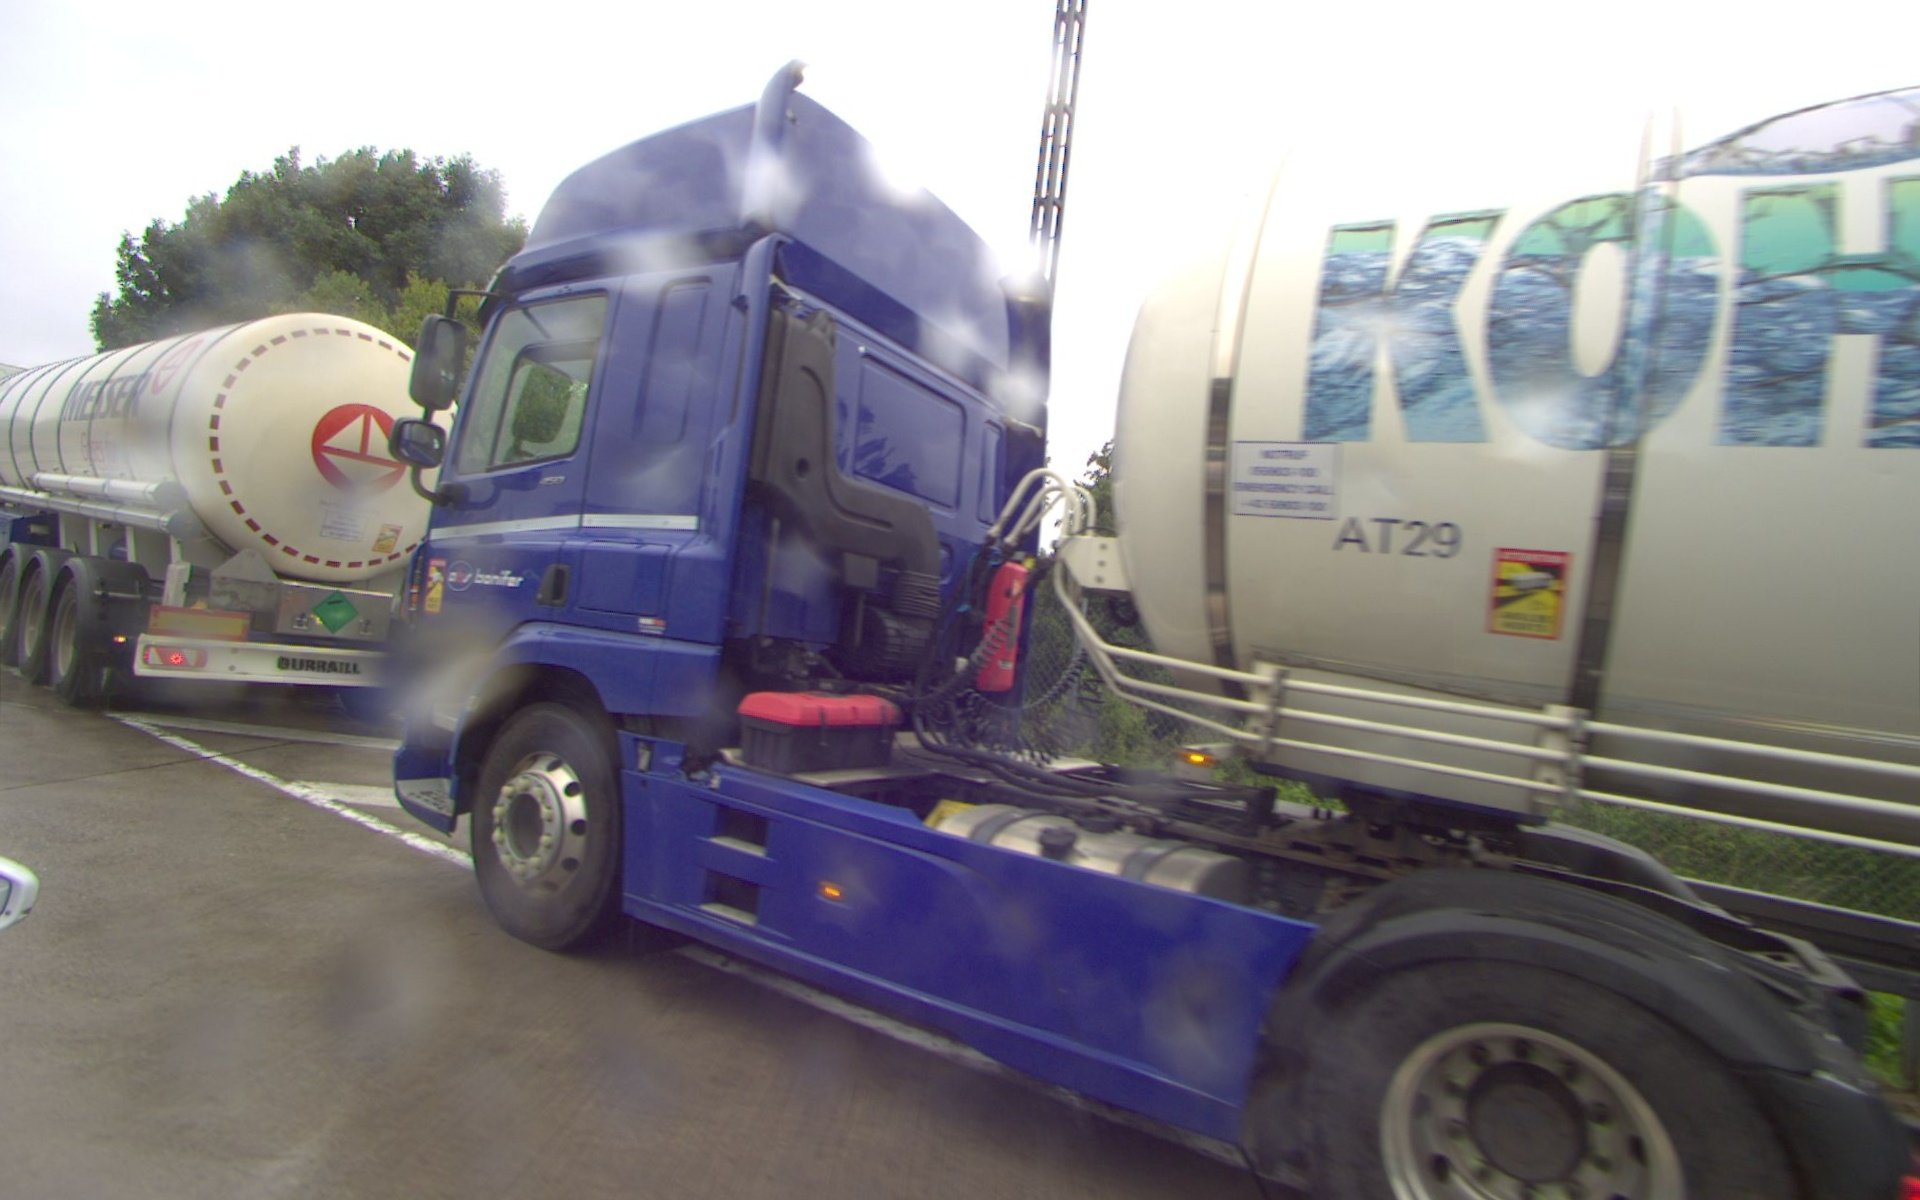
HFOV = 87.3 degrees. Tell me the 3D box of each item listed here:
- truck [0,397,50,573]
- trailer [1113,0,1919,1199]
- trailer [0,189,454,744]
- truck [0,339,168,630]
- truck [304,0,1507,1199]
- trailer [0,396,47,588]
[{"bbox_3d":[-23.422,-2.815,23.993,2.174,3.873,4.092,8,-1,-42],"label":"truck"},{"bbox_3d":[5.423,0.527,0.921,10.148,3.261,1.985,6,-2,31],"label":"trailer"},{"bbox_3d":[-8.686,-1.105,10.370,10.107,3.481,2.130,6,-2,41],"label":"trailer"},{"bbox_3d":[-13.655,-1.639,14.682,4.581,3.554,2.145,6,-2,41],"label":"truck"},{"bbox_3d":[-0.405,-0.254,4.524,4.666,3.571,2.057,6,-2,31],"label":"truck"},{"bbox_3d":[-20.432,-2.299,20.653,2.176,3.432,7.474,8,-2,-42],"label":"trailer"}]
